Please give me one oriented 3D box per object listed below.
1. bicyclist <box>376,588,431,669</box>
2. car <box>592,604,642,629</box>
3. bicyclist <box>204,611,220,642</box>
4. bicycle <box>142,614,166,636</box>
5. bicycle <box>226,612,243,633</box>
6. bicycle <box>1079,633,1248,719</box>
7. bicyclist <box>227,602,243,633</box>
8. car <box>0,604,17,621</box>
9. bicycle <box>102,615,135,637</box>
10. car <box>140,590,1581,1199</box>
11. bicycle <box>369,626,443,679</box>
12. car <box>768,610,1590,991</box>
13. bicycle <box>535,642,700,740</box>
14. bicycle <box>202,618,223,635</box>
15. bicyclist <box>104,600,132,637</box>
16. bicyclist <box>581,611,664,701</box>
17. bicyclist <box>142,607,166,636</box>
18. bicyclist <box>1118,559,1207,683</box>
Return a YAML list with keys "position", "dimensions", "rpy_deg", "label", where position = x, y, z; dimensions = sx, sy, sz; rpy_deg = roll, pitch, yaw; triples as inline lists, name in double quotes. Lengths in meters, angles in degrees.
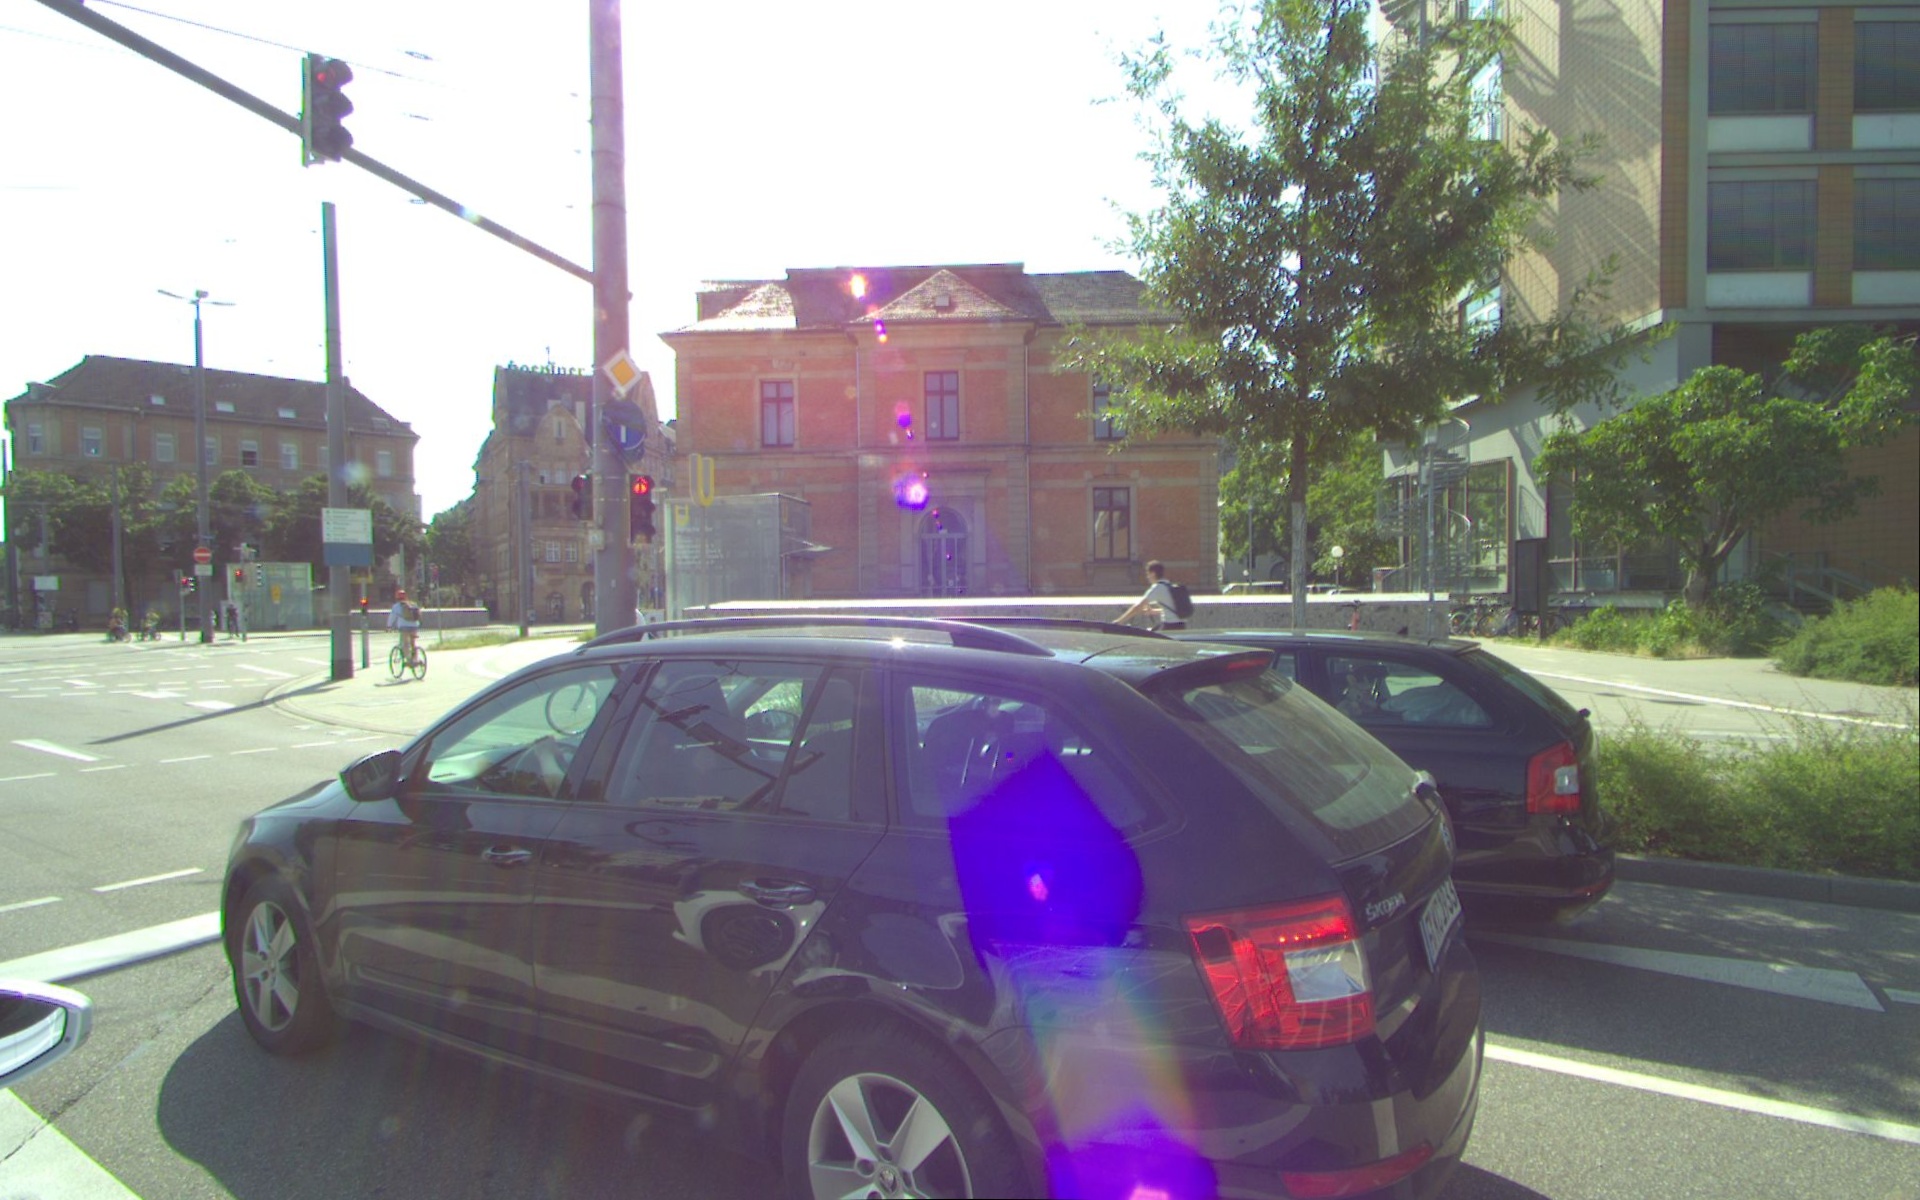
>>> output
- position: [-12.052, 0.600, 21.699]
  dimensions: [0.864, 1.692, 0.710]
  rpy_deg: [0, 3, 40]
  label: "bicyclist"
- position: [-19.270, 0.922, 56.406]
  dimensions: [1.639, 1.331, 3.452]
  rpy_deg: [-1, 0, -1]
  label: "car"
- position: [-40.139, 1.442, 53.725]
  dimensions: [0.641, 1.642, 0.498]
  rpy_deg: [0, -1, 38]
  label: "bicyclist"
- position: [-41.060, 1.278, 51.034]
  dimensions: [0.919, 1.083, 2.819]
  rpy_deg: [1, -1, -38]
  label: "bicycle"
- position: [-38.961, 1.211, 53.797]
  dimensions: [0.660, 1.083, 2.447]
  rpy_deg: [1, -1, -34]
  label: "bicycle"
- position: [2.572, 0.935, 12.750]
  dimensions: [1.991, 1.028, 0.713]
  rpy_deg: [-1, -2, 31]
  label: "bicycle"
- position: [-39.026, 0.924, 53.892]
  dimensions: [0.660, 1.645, 0.777]
  rpy_deg: [1, 0, -35]
  label: "bicyclist"
- position: [-117.305, 1.491, 122.945]
  dimensions: [2.094, 2.040, 3.961]
  rpy_deg: [-1, 0, -43]
  label: "car"
- position: [-41.821, 1.309, 49.755]
  dimensions: [2.717, 1.083, 0.922]
  rpy_deg: [-2, -2, 42]
  label: "bicycle"
- position: [-0.729, 0.775, 3.333]
  dimensions: [4.710, 1.454, 1.628]
  rpy_deg: [-1, -1, 31]
  label: "car"
- position: [-12.037, 1.119, 21.734]
  dimensions: [1.997, 1.029, 0.710]
  rpy_deg: [-1, 3, 41]
  label: "bicycle"
- position: [1.063, 0.807, 5.793]
  dimensions: [4.336, 1.448, 1.696]
  rpy_deg: [0, -1, 34]
  label: "car"
- position: [-4.355, 1.121, 12.763]
  dimensions: [1.887, 1.029, 0.714]
  rpy_deg: [-3, 2, -24]
  label: "bicycle"
- position: [-40.103, 1.410, 53.691]
  dimensions: [1.567, 0.877, 0.498]
  rpy_deg: [0, -1, 38]
  label: "bicycle"
- position: [-41.928, 0.923, 49.866]
  dimensions: [1.041, 1.843, 0.922]
  rpy_deg: [-1, -2, 42]
  label: "bicyclist"
- position: [-4.312, 0.691, 12.779]
  dimensions: [0.901, 1.043, 0.714]
  rpy_deg: [-3, 2, -24]
  label: "bicyclist"
- position: [-41.069, 1.081, 51.045]
  dimensions: [0.919, 1.470, 1.242]
  rpy_deg: [1, -1, -38]
  label: "bicyclist"
- position: [2.584, 0.277, 12.752]
  dimensions: [0.936, 1.507, 0.713]
  rpy_deg: [-1, -2, 31]
  label: "bicyclist"
